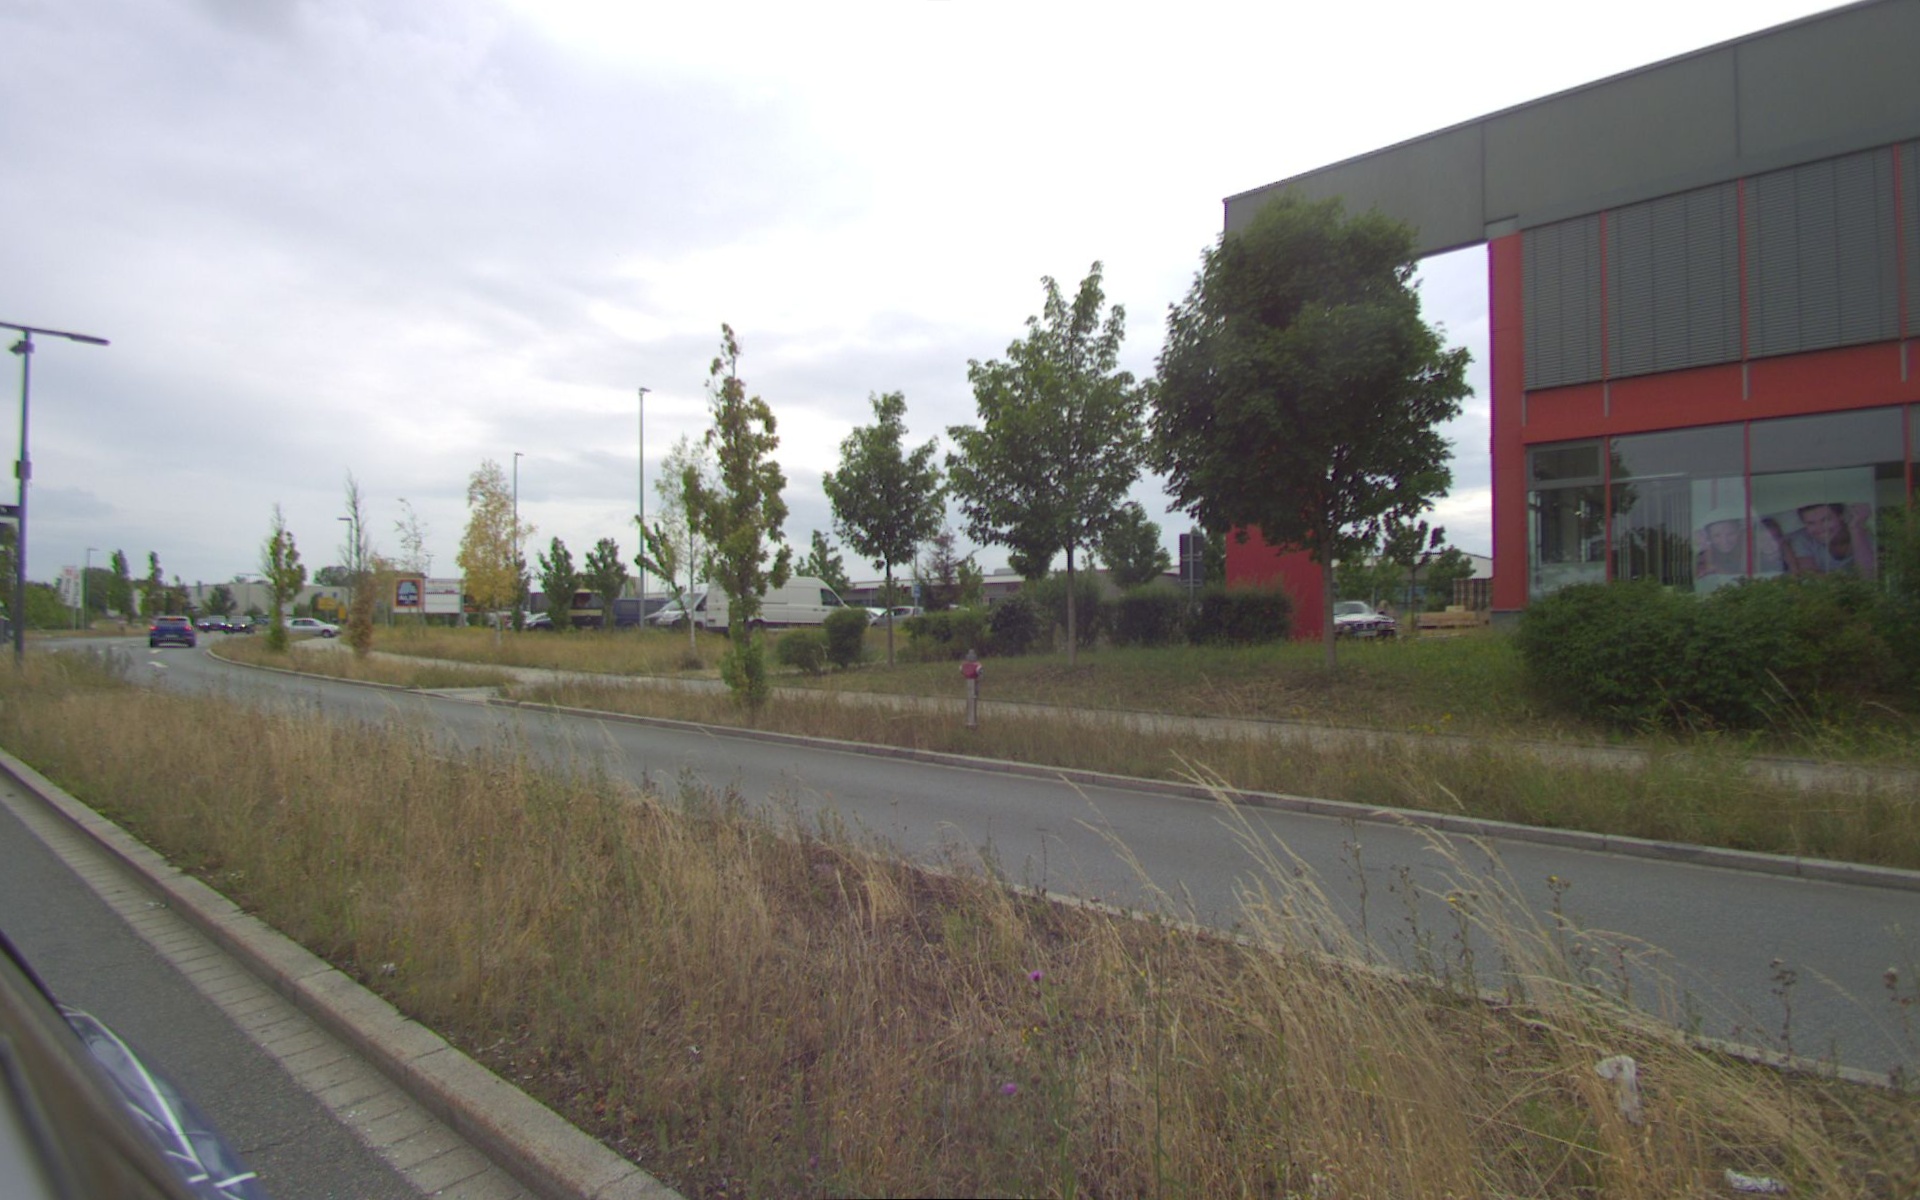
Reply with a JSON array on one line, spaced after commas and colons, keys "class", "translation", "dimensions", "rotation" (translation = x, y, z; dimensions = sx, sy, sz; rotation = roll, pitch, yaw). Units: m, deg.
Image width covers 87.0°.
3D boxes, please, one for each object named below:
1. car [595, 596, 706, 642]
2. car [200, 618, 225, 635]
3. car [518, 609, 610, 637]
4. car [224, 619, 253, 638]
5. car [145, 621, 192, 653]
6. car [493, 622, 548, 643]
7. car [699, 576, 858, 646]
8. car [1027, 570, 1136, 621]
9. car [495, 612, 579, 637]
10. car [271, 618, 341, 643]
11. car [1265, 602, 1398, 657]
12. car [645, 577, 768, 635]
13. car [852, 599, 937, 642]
[{"class": "car", "translation": [-15.566, 0.983, 51.103], "dimensions": [4.979, 2.240, 2.067], "rotation": [2, -3, -42]}, {"class": "car", "translation": [-74.973, 2.662, 101.478], "dimensions": [1.968, 1.586, 4.008], "rotation": [0, 0, -38]}, {"class": "car", "translation": [-24.725, 1.479, 63.341], "dimensions": [4.976, 1.669, 2.068], "rotation": [2, -2, -39]}, {"class": "car", "translation": [-64.644, 2.500, 90.696], "dimensions": [1.966, 1.586, 4.011], "rotation": [0, 0, -33]}, {"class": "car", "translation": [-40.391, 1.877, 51.619], "dimensions": [1.707, 1.524, 4.006], "rotation": [2, -2, -40]}, {"class": "car", "translation": [-34.412, 2.526, 79.324], "dimensions": [3.931, 1.475, 1.742], "rotation": [0, 0, -22]}, {"class": "car", "translation": [-7.276, 0.414, 41.230], "dimensions": [2.066, 2.644, 6.326], "rotation": [-1, 0, 45]}, {"class": "car", "translation": [5.999, -0.210, 50.387], "dimensions": [5.049, 2.391, 2.039], "rotation": [-1, 0, 37]}, {"class": "car", "translation": [-28.976, 1.714, 69.401], "dimensions": [4.976, 1.669, 2.068], "rotation": [2, -2, -39]}, {"class": "car", "translation": [-48.205, 2.226, 74.681], "dimensions": [3.931, 1.683, 2.006], "rotation": [-1, -1, -20]}, {"class": "car", "translation": [9.260, 0.702, 25.320], "dimensions": [2.860, 1.279, 1.245], "rotation": [-1, 0, 42]}, {"class": "car", "translation": [-11.077, 0.239, 44.587], "dimensions": [2.064, 2.391, 4.988], "rotation": [-1, 0, 41]}, {"class": "car", "translation": [-3.898, 1.162, 59.417], "dimensions": [5.055, 2.391, 2.036], "rotation": [-1, 0, 42]}]
